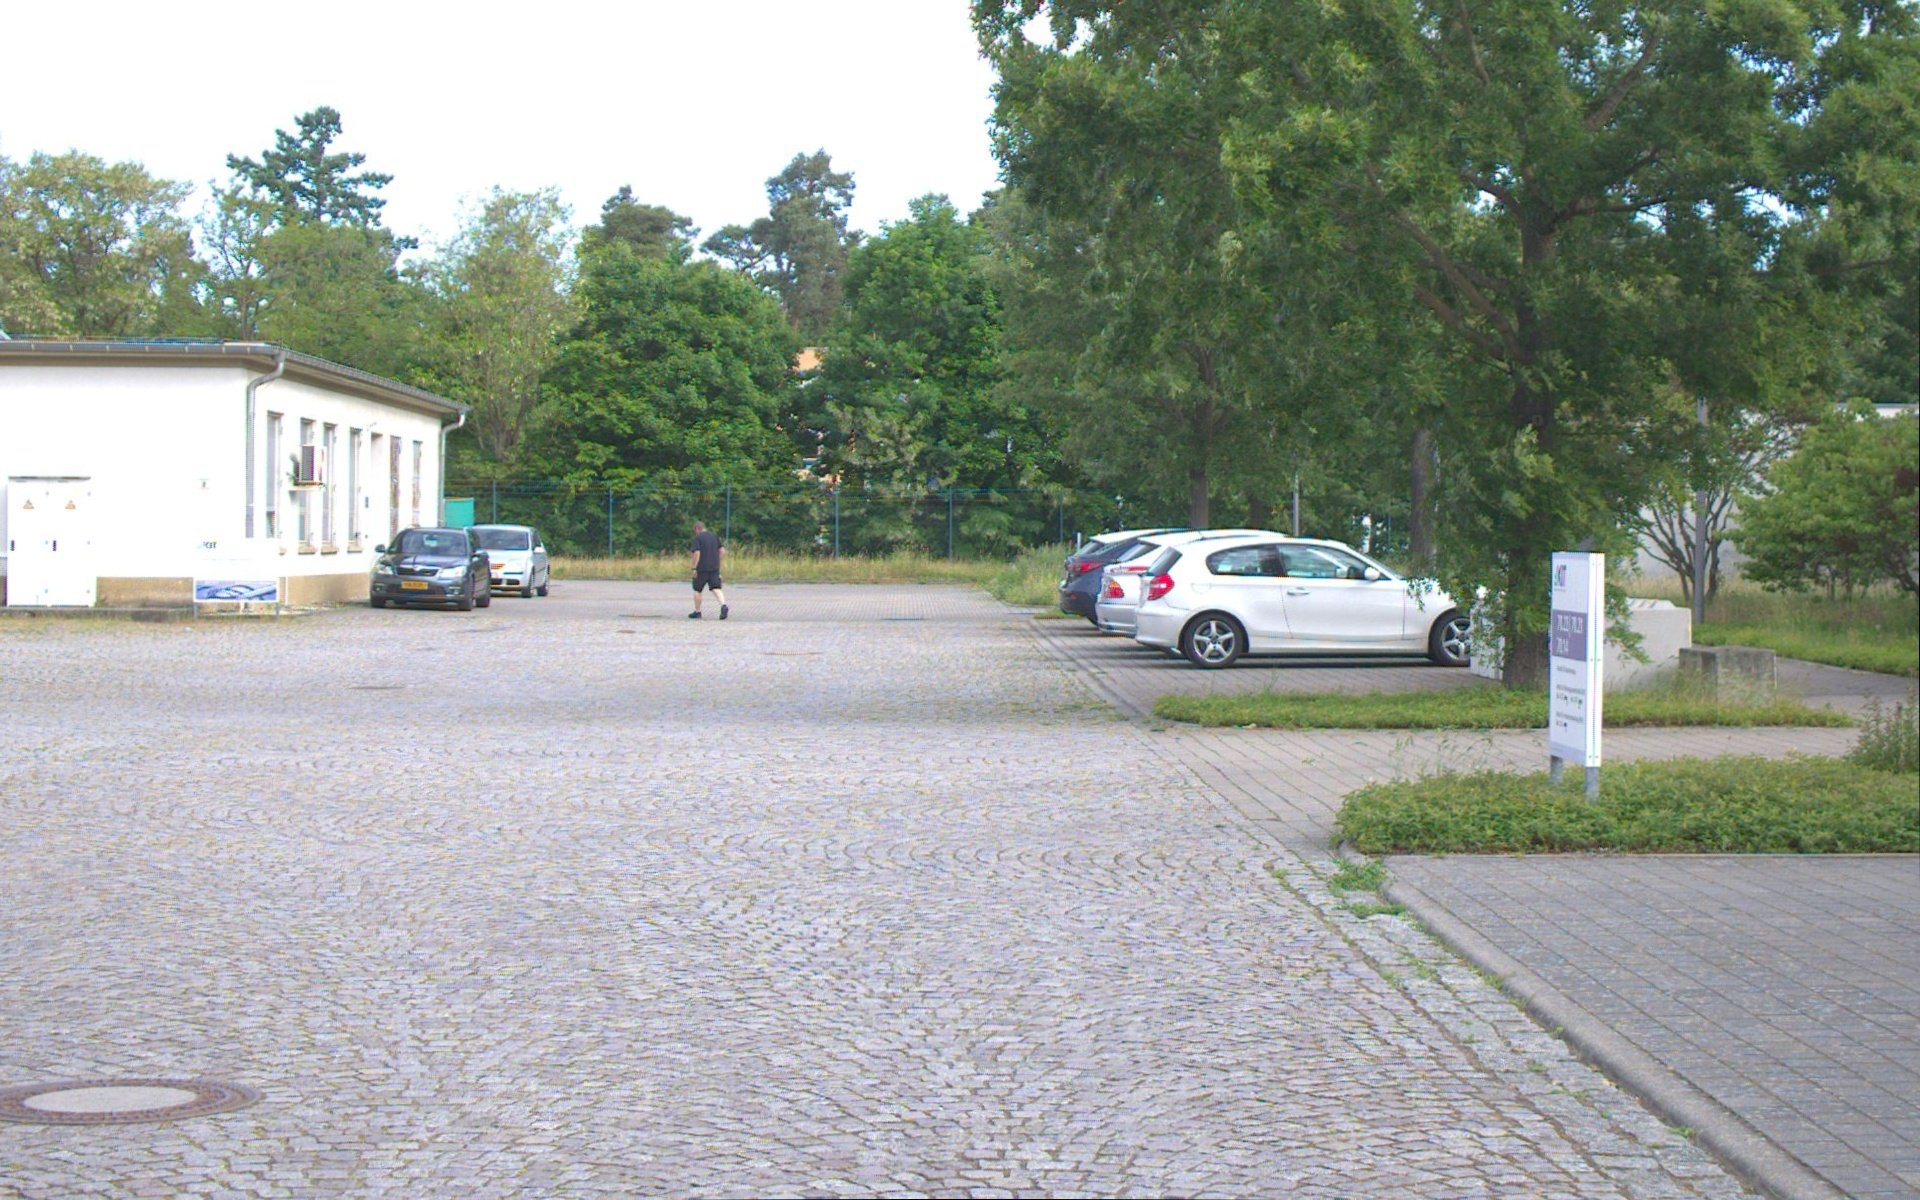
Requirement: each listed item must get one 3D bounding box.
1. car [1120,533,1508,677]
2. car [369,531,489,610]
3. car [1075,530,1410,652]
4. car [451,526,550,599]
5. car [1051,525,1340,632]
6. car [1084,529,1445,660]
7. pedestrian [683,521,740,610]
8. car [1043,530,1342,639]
[{"bbox_3d":[3.807,0.043,37.510,3.987,1.450,2.000,1,0,-1],"label":"car"},{"bbox_3d":[-9.438,-0.548,61.322,1.748,1.359,4.001,0,1,-3],"label":"car"},{"bbox_3d":[3.463,-0.127,42.713,3.987,1.450,1.770,0,1,-1],"label":"car"},{"bbox_3d":[-9.528,-0.795,71.552,1.748,1.449,4.001,0,1,-3],"label":"car"},{"bbox_3d":[3.444,-0.324,50.831,3.986,1.528,2.000,0,1,-5],"label":"car"},{"bbox_3d":[3.468,-0.082,39.673,3.987,1.450,1.697,0,1,-1],"label":"car"},{"bbox_3d":[-4.394,-0.618,60.798,0.940,1.563,0.971,0,1,-1],"label":"pedestrian"},{"bbox_3d":[3.184,-0.222,47.614,3.987,1.450,1.770,0,1,-1],"label":"car"}]
